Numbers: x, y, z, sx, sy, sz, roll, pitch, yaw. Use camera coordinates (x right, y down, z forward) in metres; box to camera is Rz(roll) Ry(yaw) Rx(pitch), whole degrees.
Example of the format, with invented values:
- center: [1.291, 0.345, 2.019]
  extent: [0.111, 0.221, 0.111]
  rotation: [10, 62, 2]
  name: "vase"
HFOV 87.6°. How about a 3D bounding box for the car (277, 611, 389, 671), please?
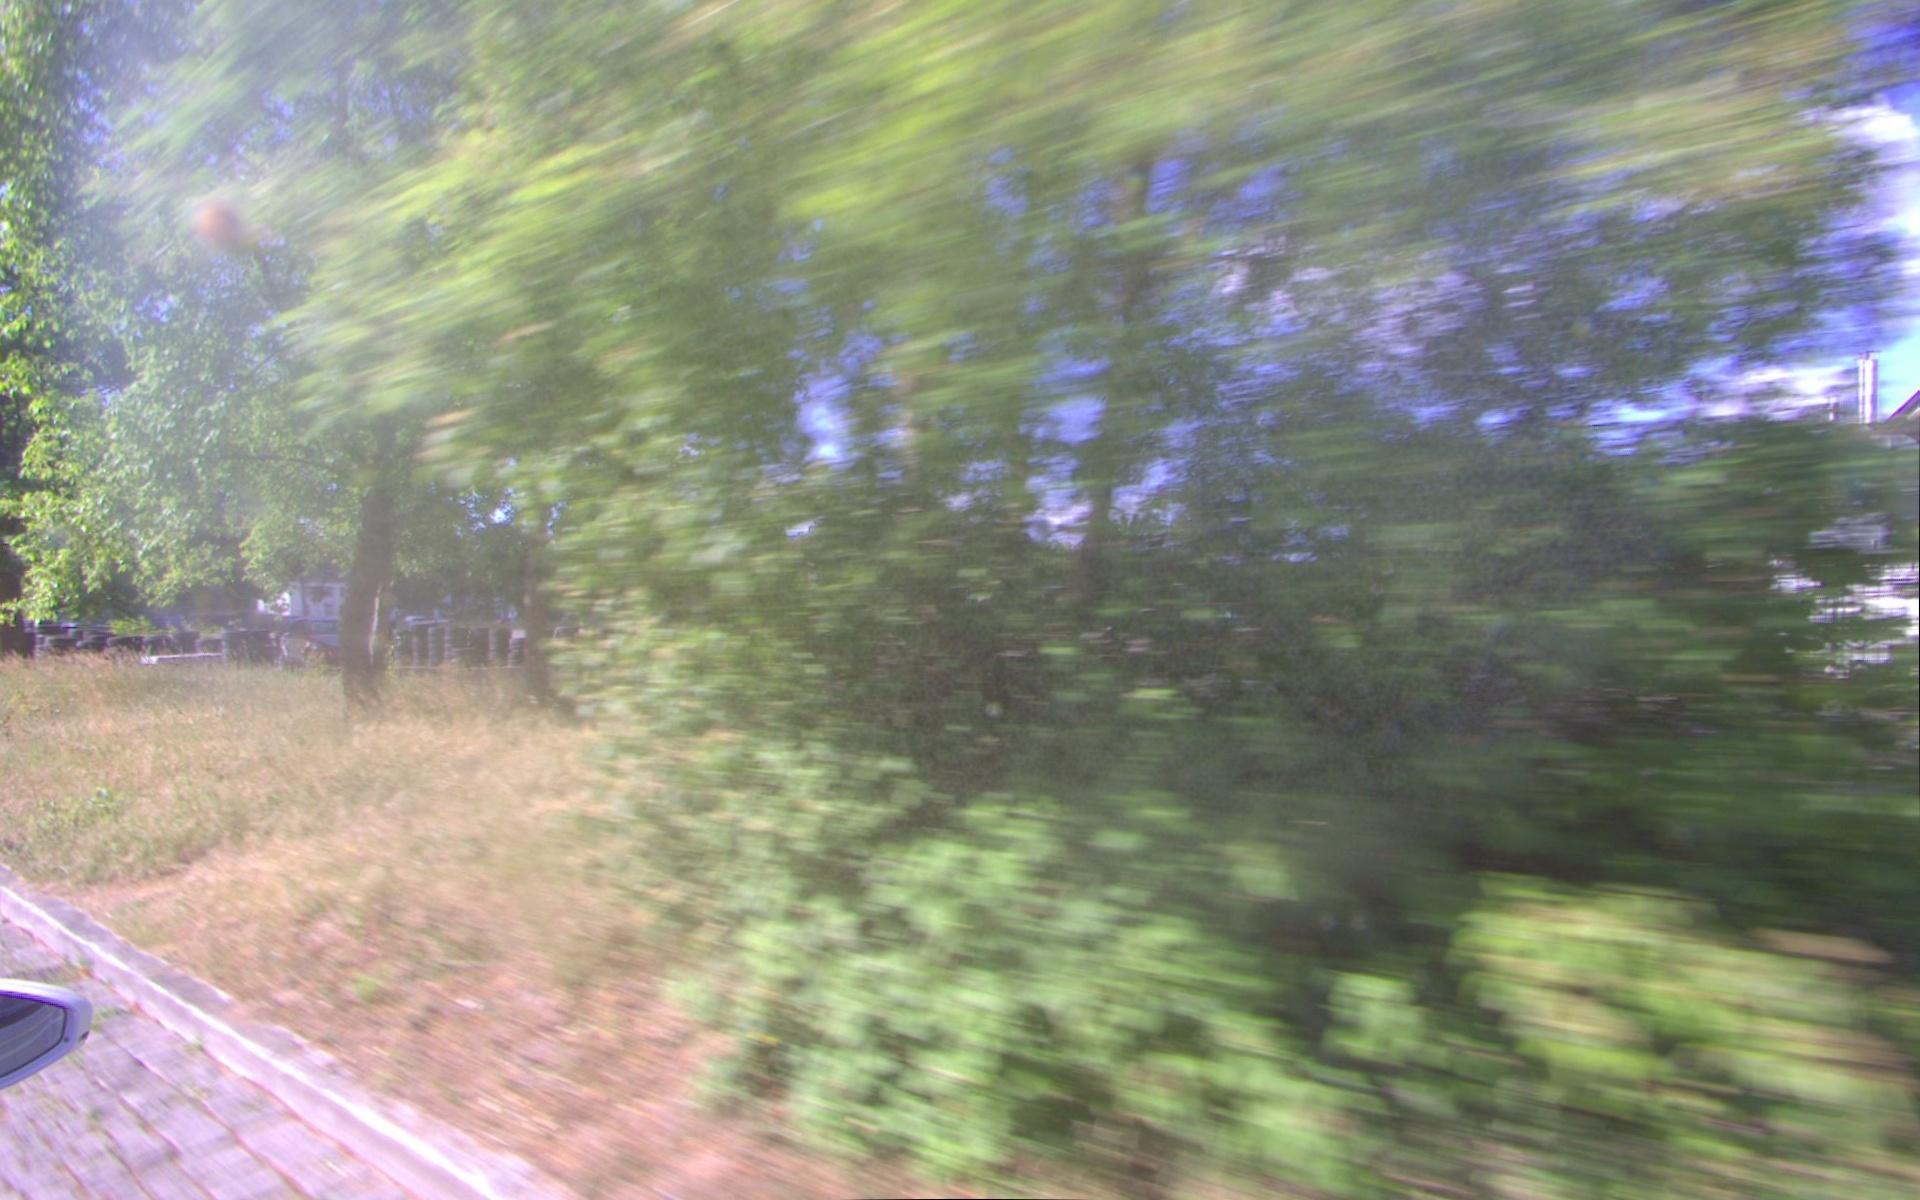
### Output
- center: [-16.226, 1.025, 25.863]
  extent: [3.537, 1.425, 1.533]
  rotation: [-1, -1, 42]
  name: "car"
